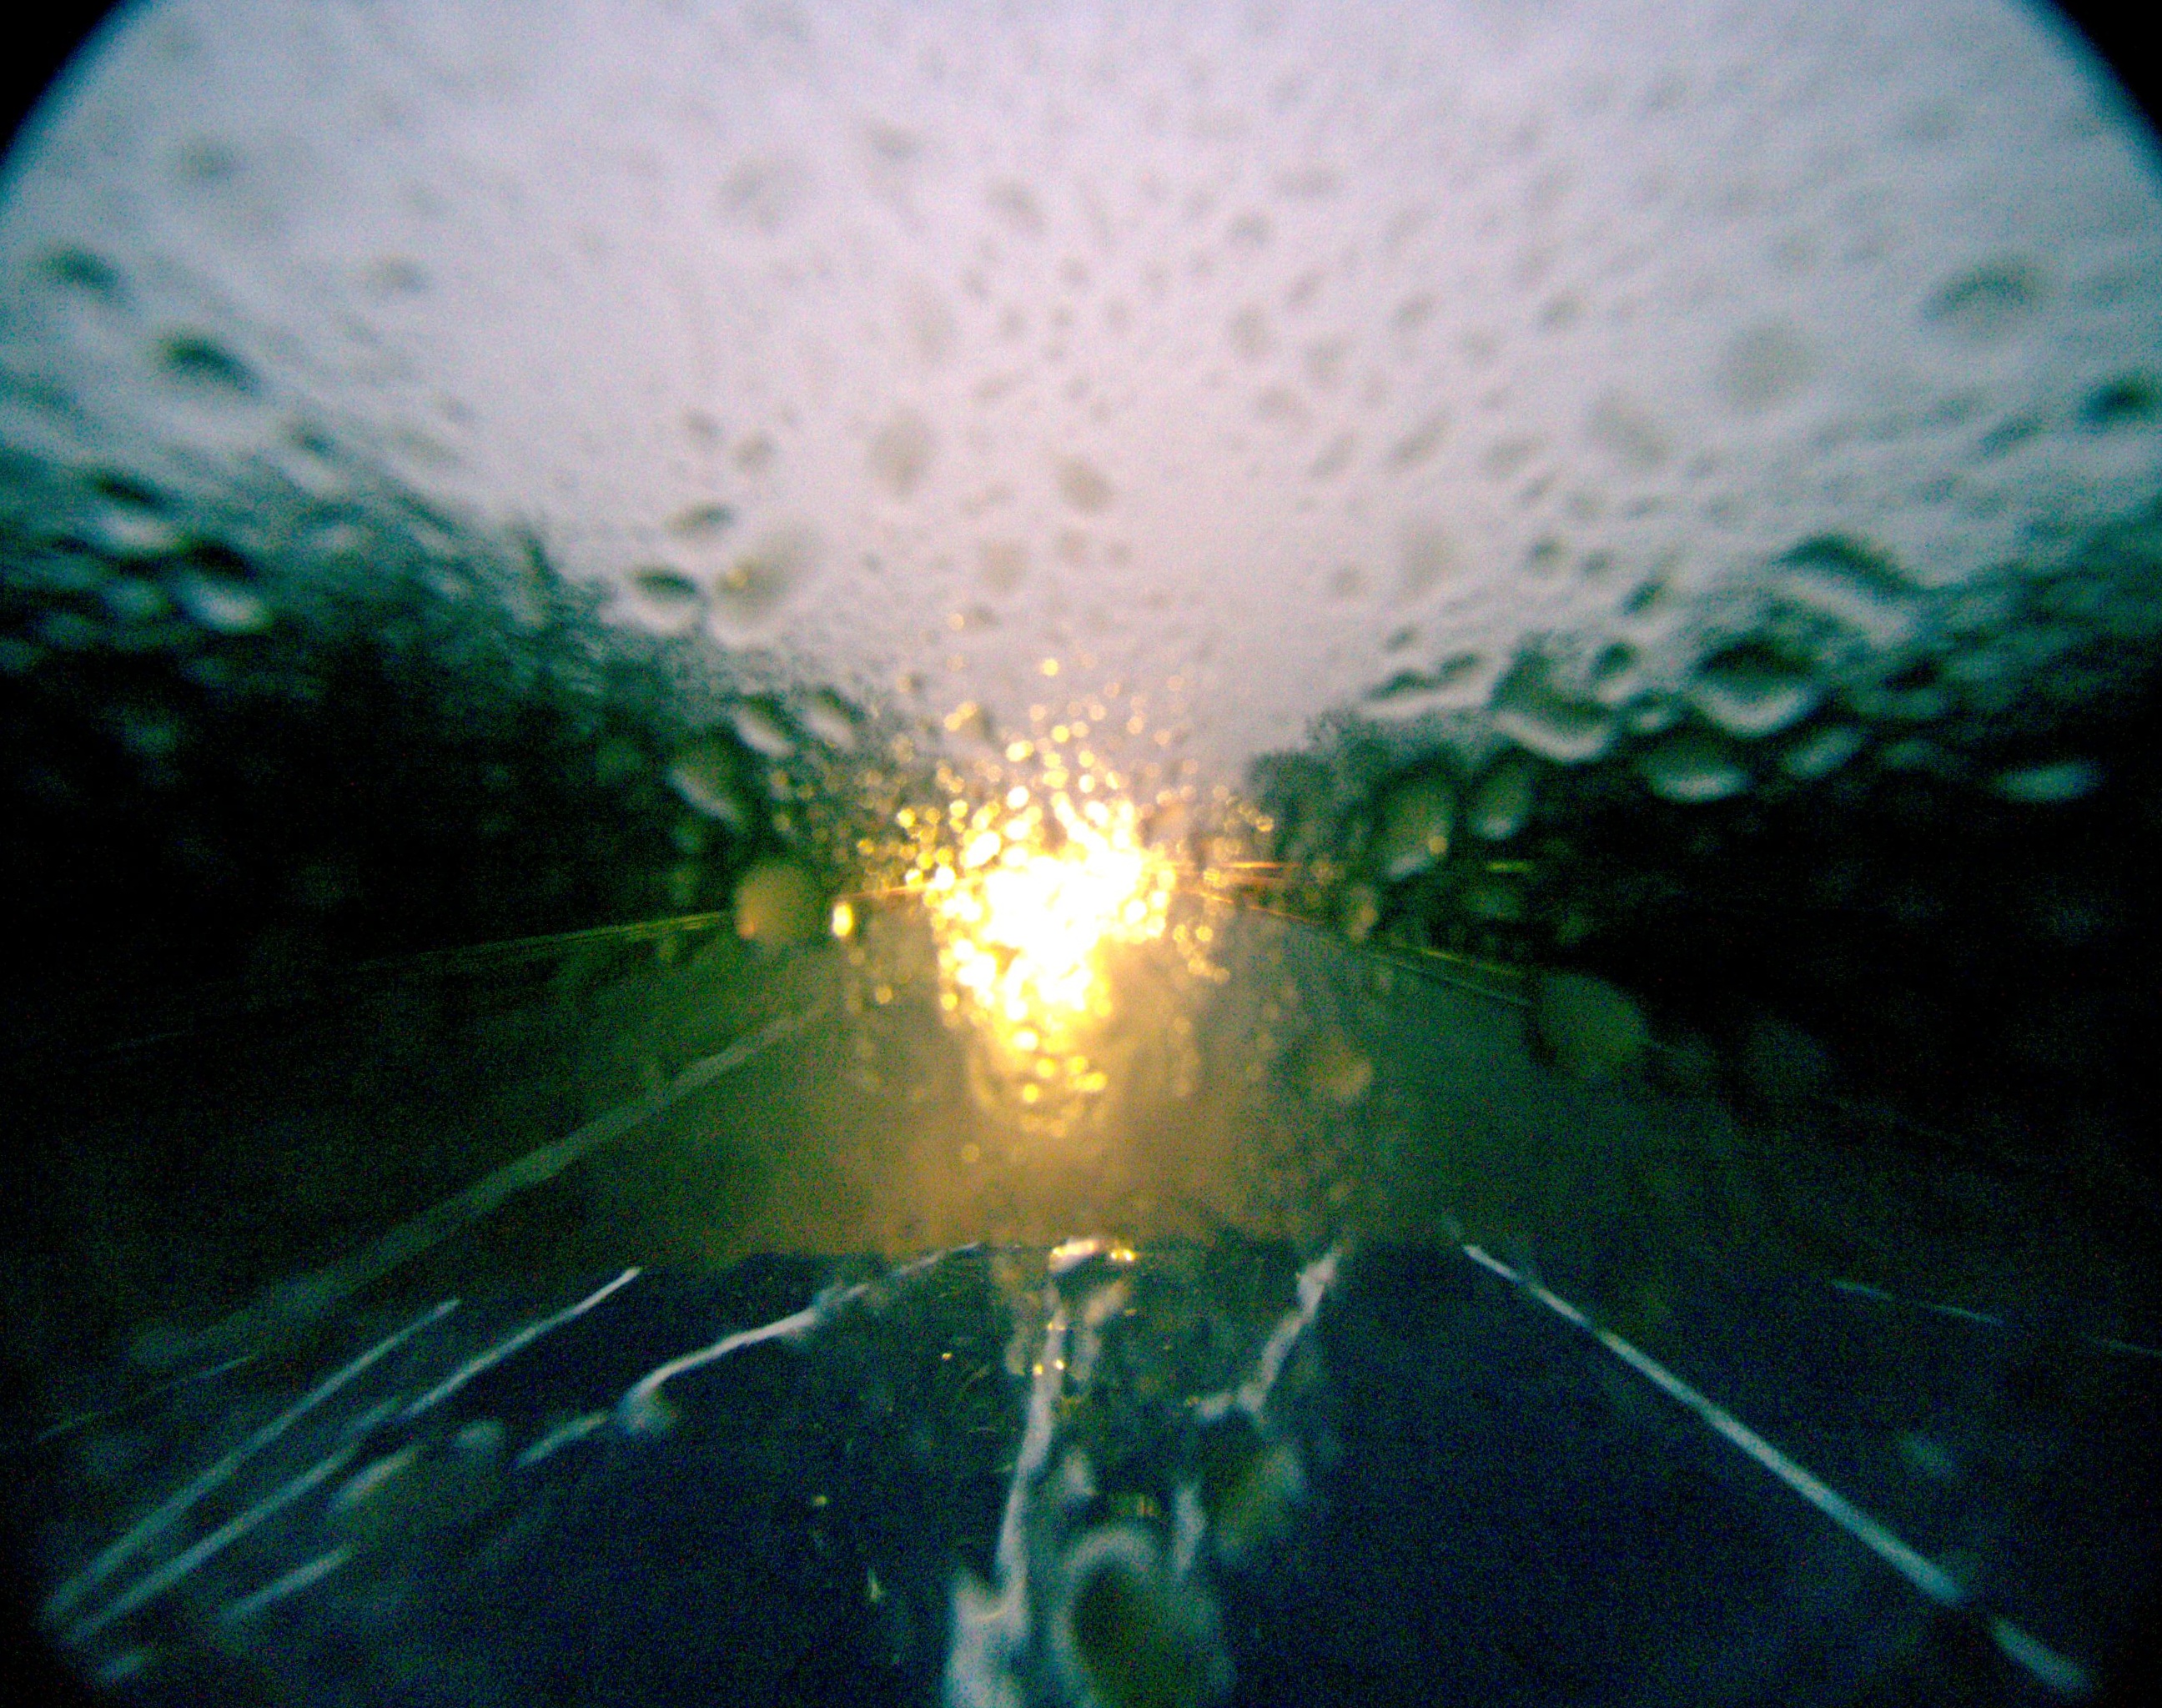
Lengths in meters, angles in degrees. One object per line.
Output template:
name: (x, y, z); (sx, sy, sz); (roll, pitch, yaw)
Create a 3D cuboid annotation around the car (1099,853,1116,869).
car: (3.284, 0.873, 94.278); (1.767, 1.922, 3.999); (-2, 0, -1)

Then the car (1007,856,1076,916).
car: (-1.225, 0.987, 25.530); (1.929, 1.781, 3.941); (-2, 0, 2)

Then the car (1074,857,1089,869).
car: (0.066, 1.137, 97.605); (1.741, 1.441, 4.000); (-2, 0, 1)

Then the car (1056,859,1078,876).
car: (-1.198, 1.123, 66.193); (1.602, 1.357, 3.306); (-2, 0, 3)
